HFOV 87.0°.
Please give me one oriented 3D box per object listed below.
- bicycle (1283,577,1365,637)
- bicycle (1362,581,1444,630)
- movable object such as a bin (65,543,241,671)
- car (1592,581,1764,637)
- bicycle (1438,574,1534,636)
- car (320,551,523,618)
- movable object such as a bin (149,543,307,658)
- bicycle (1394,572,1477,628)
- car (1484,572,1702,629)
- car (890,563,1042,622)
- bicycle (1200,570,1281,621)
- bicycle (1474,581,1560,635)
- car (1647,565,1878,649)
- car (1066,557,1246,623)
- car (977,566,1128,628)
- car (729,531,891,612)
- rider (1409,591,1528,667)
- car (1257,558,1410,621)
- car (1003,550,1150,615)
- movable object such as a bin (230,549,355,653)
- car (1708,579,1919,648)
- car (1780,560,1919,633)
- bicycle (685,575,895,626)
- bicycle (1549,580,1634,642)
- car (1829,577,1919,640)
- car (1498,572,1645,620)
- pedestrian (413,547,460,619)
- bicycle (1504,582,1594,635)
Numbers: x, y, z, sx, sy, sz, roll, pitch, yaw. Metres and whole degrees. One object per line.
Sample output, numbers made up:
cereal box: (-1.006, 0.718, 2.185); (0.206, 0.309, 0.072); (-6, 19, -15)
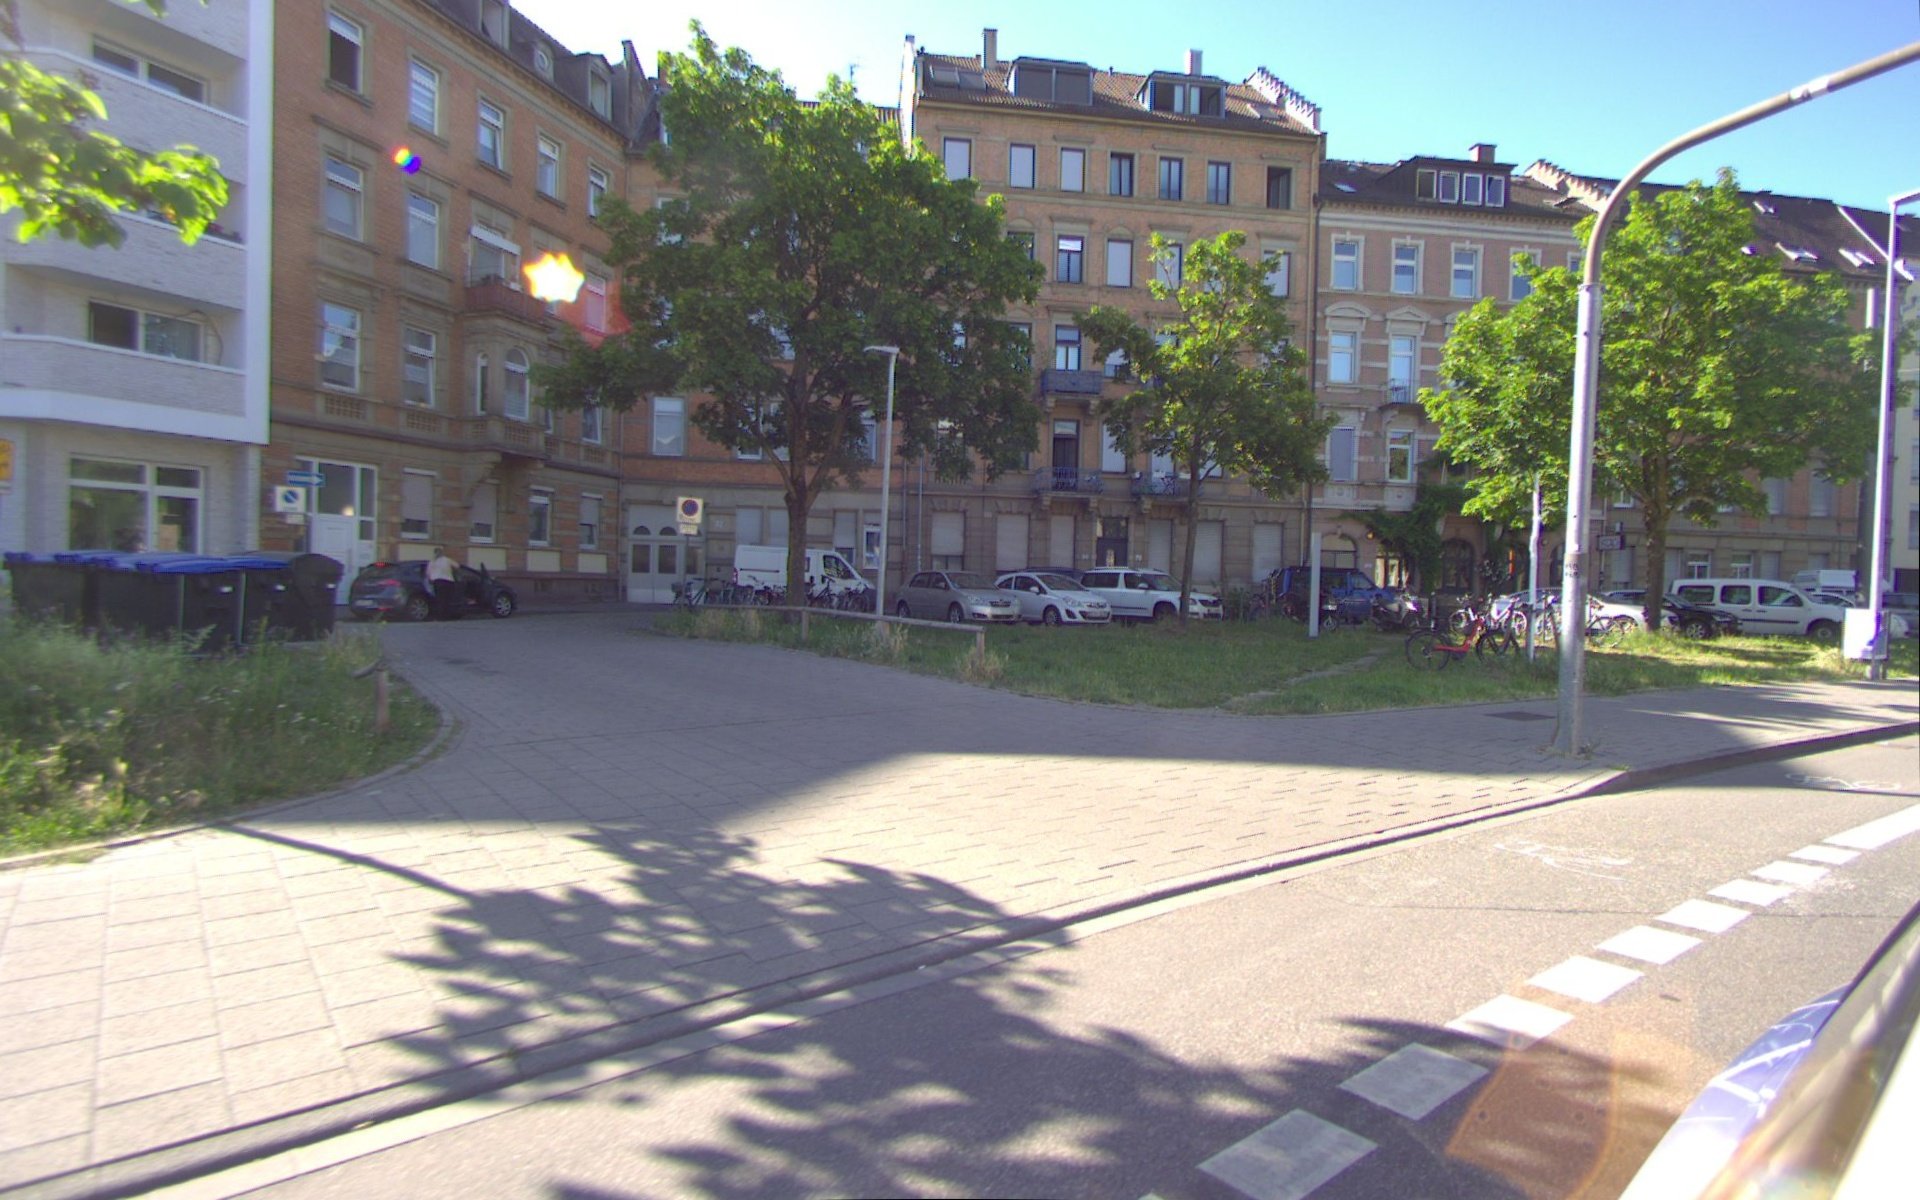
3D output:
bicycle: (9.015, 0.148, 25.166); (0.771, 1.416, 2.105); (1, 1, -18)
bicycle: (11.221, 0.111, 25.716); (0.805, 1.173, 2.173); (1, 1, -11)
movable object such as a bin: (-9.614, 0.063, 12.096); (1.284, 1.416, 1.067); (2, 1, 14)
car: (20.332, 0.221, 28.737); (1.891, 1.397, 3.611); (1, 1, -40)
bicycle: (12.171, 0.092, 23.497); (0.771, 1.382, 2.104); (1, 1, -12)
car: (-12.842, -0.368, 24.425); (1.975, 1.454, 4.081); (1, 1, 20)
movable object such as a bin: (-9.615, -0.010, 13.334); (1.301, 1.416, 1.106); (2, 1, 14)
bicycle: (12.152, -0.020, 25.925); (0.771, 1.382, 2.104); (1, 1, -12)
car: (17.485, -0.026, 28.139); (2.009, 1.397, 4.747); (1, 1, -40)
car: (0.075, -0.228, 25.513); (1.804, 1.354, 4.058); (1, 1, -35)
bicycle: (7.971, -0.133, 28.858); (2.093, 1.382, 0.775); (2, 1, 43)
bicycle: (13.808, 0.177, 25.151); (0.824, 1.206, 1.967); (1, 3, -7)
car: (23.101, 0.113, 29.299); (2.064, 2.037, 4.876); (-1, 4, -40)
car: (5.042, -0.297, 26.556); (1.902, 1.585, 4.468); (1, 1, -38)
car: (2.324, -0.114, 26.148); (1.727, 1.459, 3.842); (1, 1, -38)
car: (-4.933, -0.967, 33.718); (5.083, 2.386, 2.360); (2, 2, -6)
rider: (8.429, 0.469, 16.820); (1.649, 1.191, 0.502); (1, 1, 11)
car: (13.350, -0.405, 36.302); (4.628, 2.001, 2.003); (2, 2, -6)
car: (3.979, -0.624, 35.124); (4.628, 2.001, 2.003); (2, 2, -6)
movable object such as a bin: (-9.577, 0.001, 14.548); (1.074, 1.416, 1.028); (2, 1, 13)
car: (25.754, 0.323, 30.360); (2.061, 1.667, 4.882); (0, 4, -36)
car: (34.870, -0.159, 39.269); (4.422, 2.616, 2.003); (2, 2, -5)
bicycle: (-4.423, -0.005, 26.307); (5.113, 1.141, 2.689); (1, 1, -12)
bicycle: (14.575, 0.231, 23.370); (1.587, 1.306, 0.761); (3, 2, 34)
car: (29.164, 0.303, 30.193); (1.962, 1.748, 4.514); (0, 4, -36)
car: (22.828, -0.152, 37.844); (4.419, 1.547, 2.005); (2, 2, -10)
pedestrian: (-11.848, -0.395, 22.913); (0.765, 1.596, 0.636); (2, 1, 31)
bicycle: (14.698, 0.185, 25.321); (0.881, 1.195, 1.954); (1, 2, -7)
